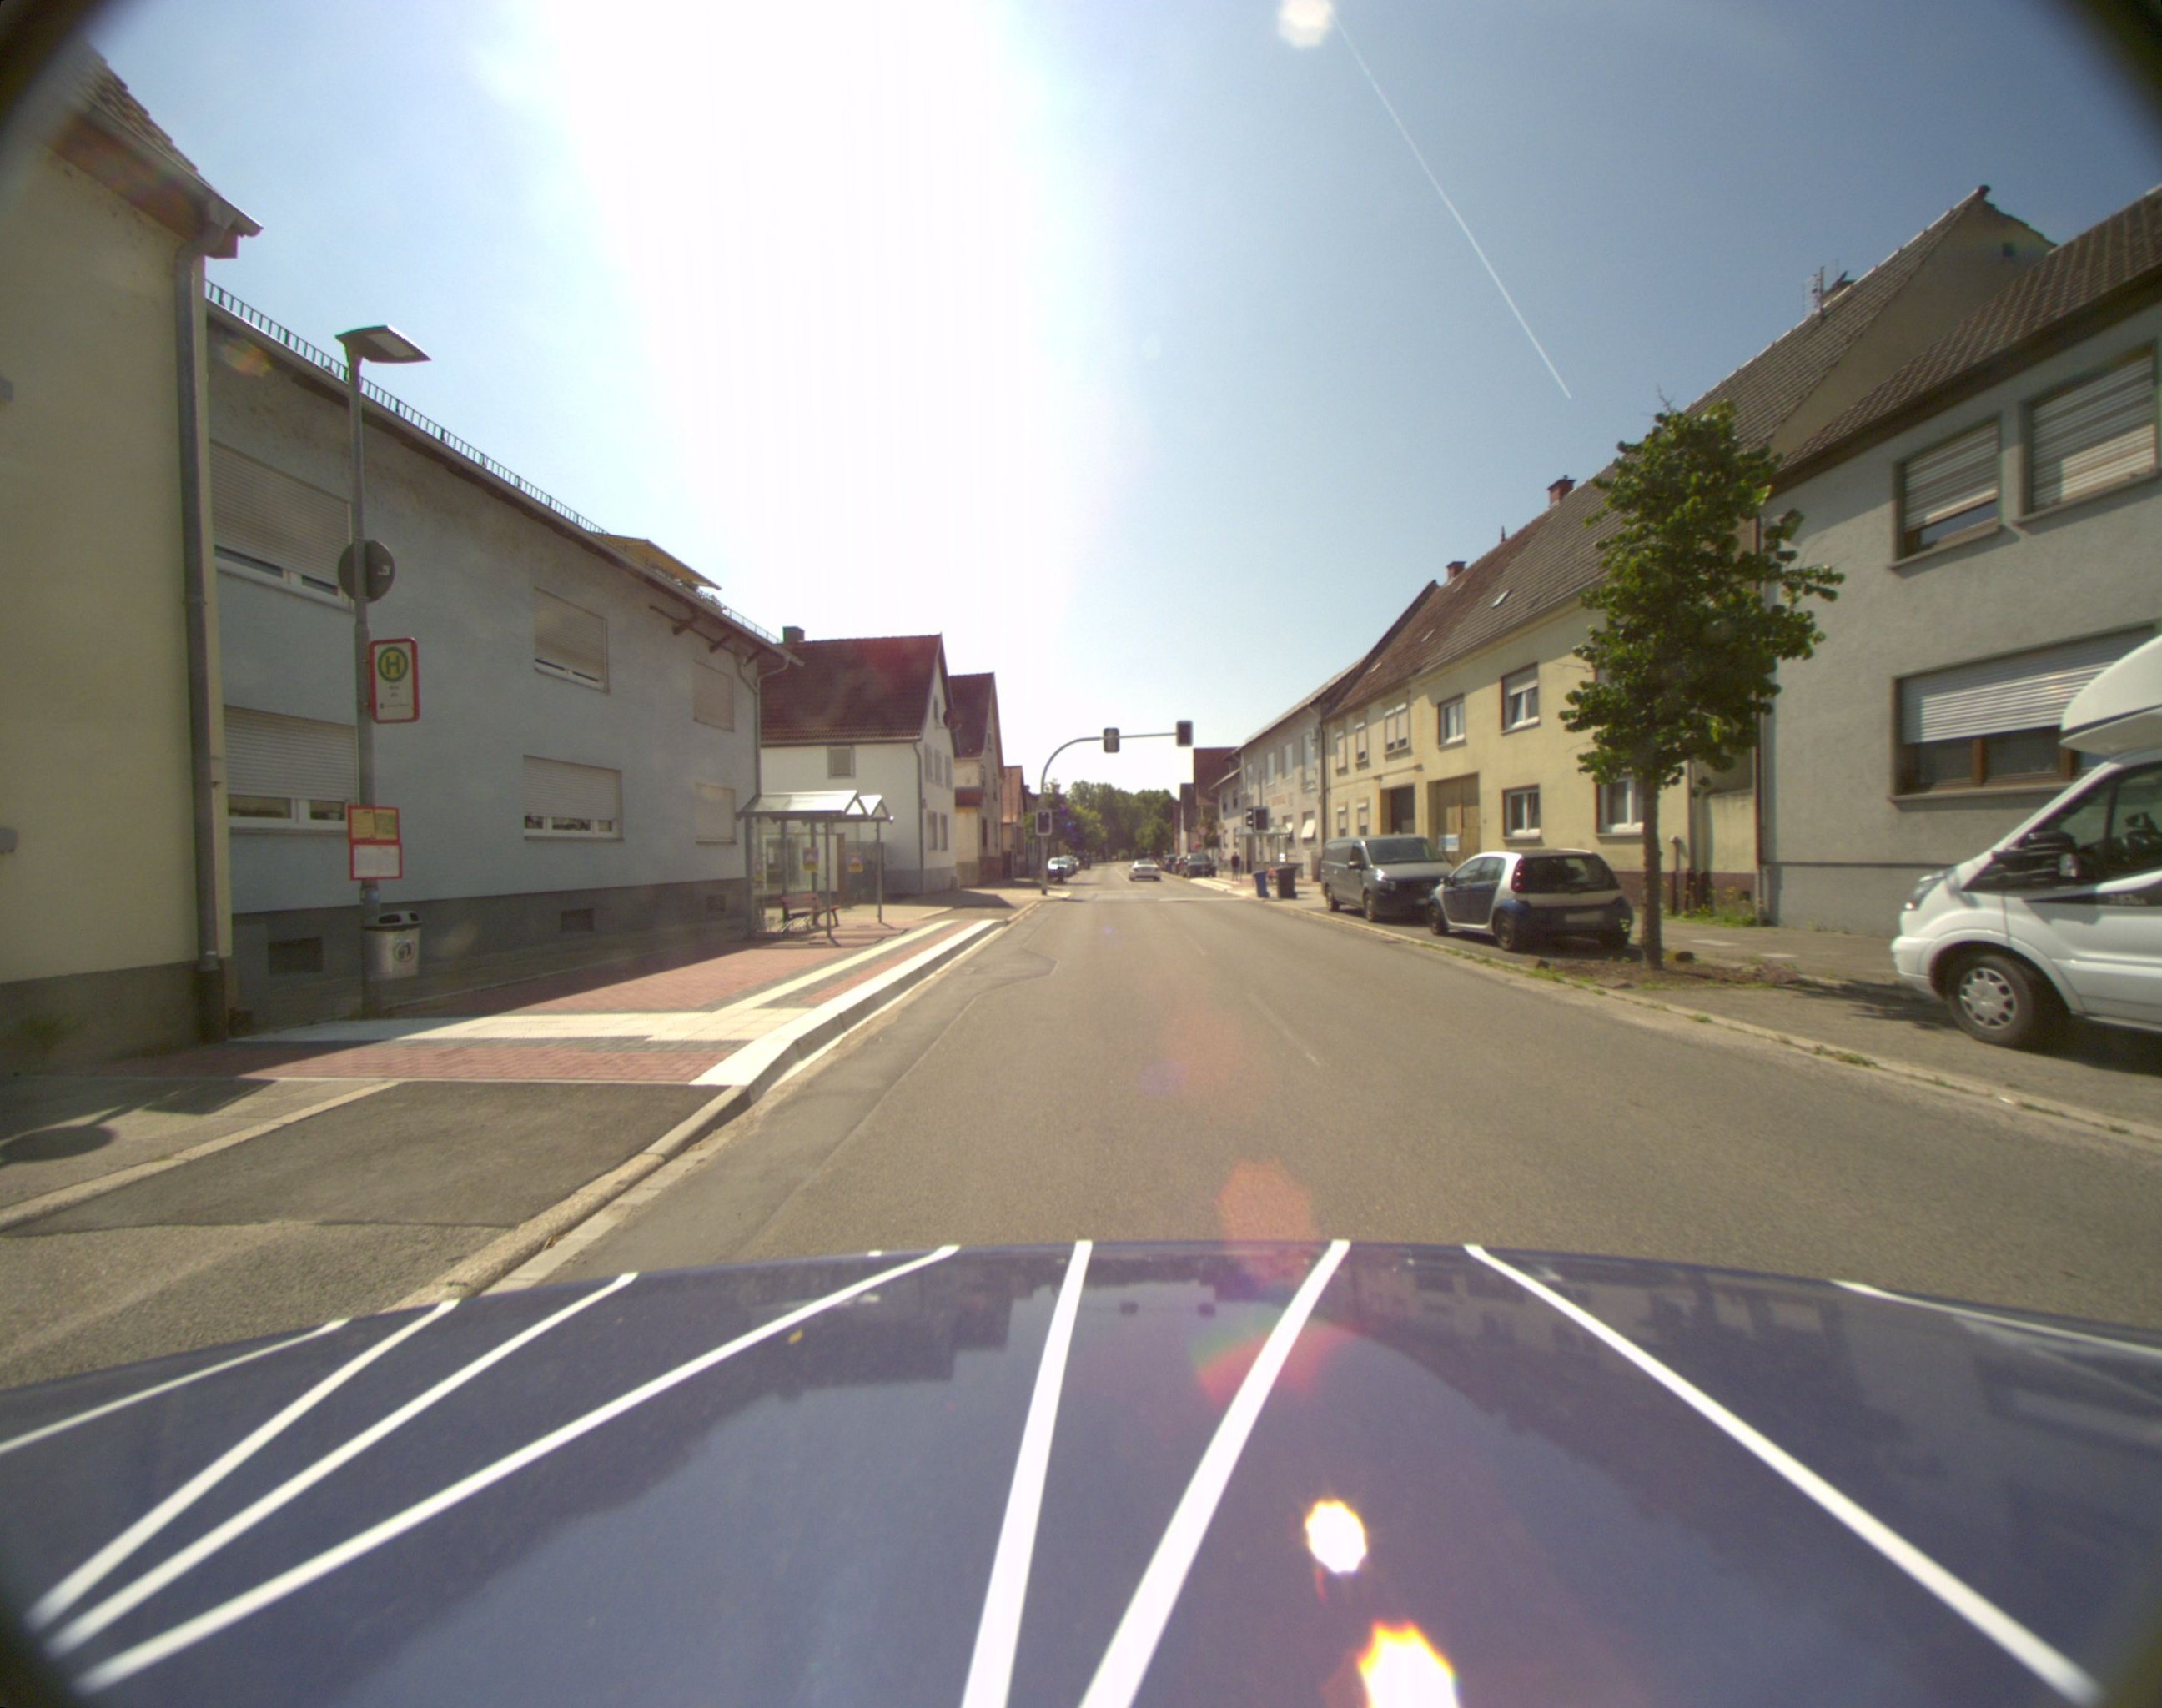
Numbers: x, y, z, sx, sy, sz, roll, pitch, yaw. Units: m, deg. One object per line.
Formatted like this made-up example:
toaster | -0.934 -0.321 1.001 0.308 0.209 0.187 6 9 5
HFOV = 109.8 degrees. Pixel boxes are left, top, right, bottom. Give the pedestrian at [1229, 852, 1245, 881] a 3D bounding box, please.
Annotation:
pedestrian | 8.261 0.640 40.255 0.752 1.523 0.581 -1 1 1

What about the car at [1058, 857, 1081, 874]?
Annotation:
car | -1.024 1.009 70.382 1.998 1.477 4.000 -1 0 1

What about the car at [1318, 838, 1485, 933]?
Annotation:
car | 7.108 0.624 17.526 1.998 1.837 4.957 -1 0 3

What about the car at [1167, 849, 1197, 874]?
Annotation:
car | 8.043 0.575 60.713 1.998 1.837 4.957 -1 0 3

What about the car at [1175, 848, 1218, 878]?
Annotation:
car | 7.669 0.578 50.907 2.355 1.837 4.957 -1 0 3

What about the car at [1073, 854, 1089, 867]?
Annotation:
car | 0.027 0.841 103.886 1.998 1.659 4.000 -1 0 1

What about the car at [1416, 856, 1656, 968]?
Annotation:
car | 6.917 0.784 12.028 1.689 1.473 3.618 -1 0 2

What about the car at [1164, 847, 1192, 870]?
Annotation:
car | 8.406 0.378 66.201 1.998 1.837 4.957 -1 0 3

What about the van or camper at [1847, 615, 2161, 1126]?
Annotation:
van or camper | 7.270 0.076 2.541 2.451 2.888 7.068 -1 0 2

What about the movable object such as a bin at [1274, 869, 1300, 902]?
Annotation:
movable object such as a bin | 6.880 1.037 25.366 0.718 1.060 0.550 -1 0 0

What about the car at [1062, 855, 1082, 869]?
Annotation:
car | -0.982 0.862 83.391 1.998 1.477 4.000 -1 0 1

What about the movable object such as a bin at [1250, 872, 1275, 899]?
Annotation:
movable object such as a bin | 6.371 1.118 26.720 0.718 0.907 0.550 -1 0 0

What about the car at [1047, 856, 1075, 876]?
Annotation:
car | -1.503 0.885 59.537 1.998 1.477 4.000 -1 0 1

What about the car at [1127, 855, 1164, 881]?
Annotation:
car | 3.996 0.851 47.891 1.998 1.521 4.000 -1 0 1
